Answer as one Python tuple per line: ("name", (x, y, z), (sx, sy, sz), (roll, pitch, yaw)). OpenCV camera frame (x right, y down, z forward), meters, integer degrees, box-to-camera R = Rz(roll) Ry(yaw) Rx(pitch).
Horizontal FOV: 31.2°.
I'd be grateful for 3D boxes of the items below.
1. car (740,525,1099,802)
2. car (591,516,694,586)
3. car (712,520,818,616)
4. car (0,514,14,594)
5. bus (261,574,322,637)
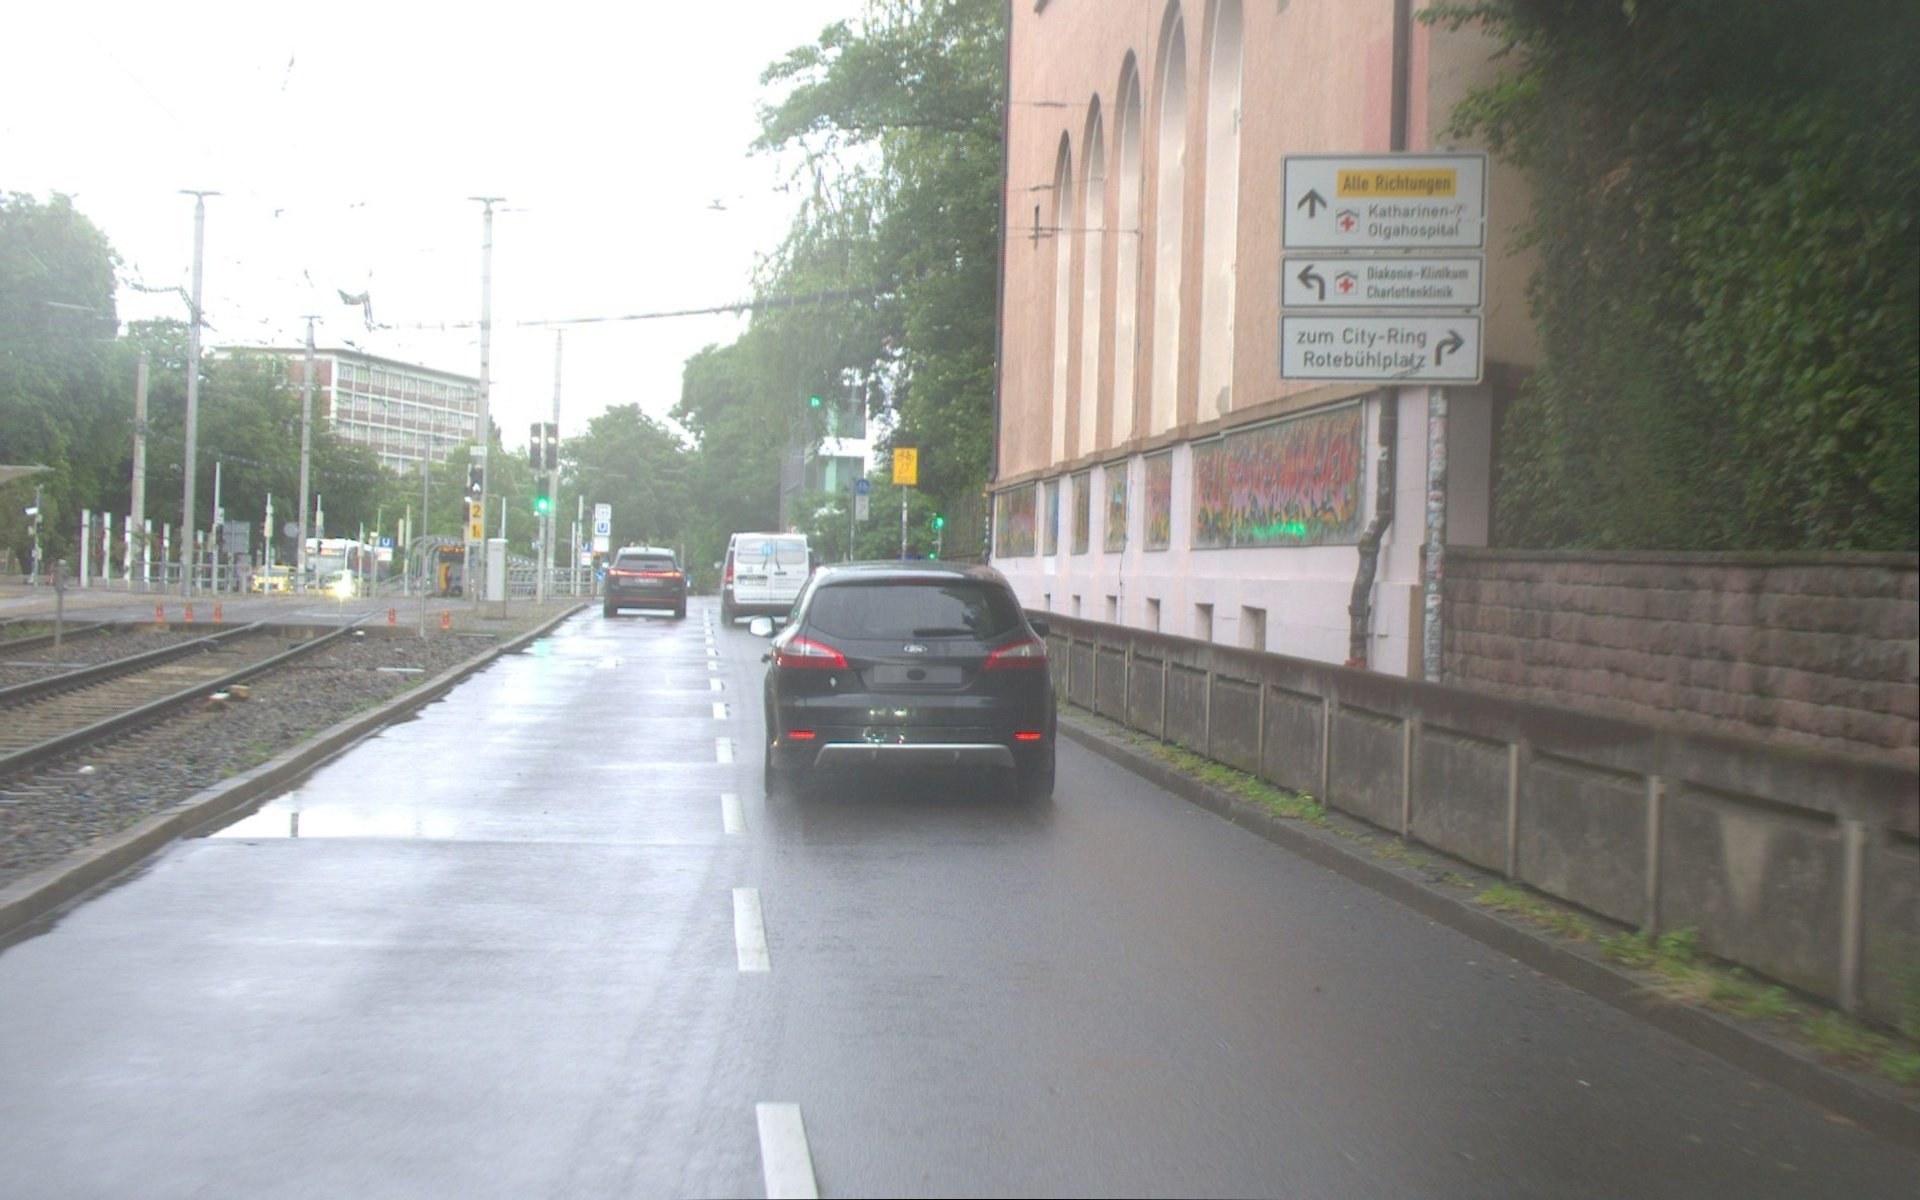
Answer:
("car", (-0.375, 0.348, 22.543), (2.035, 1.579, 4.393), (2, 1, -4))
("car", (-7.123, -1.086, 77.534), (2.098, 1.500, 4.732), (0, 0, -3))
("car", (-3.935, -0.657, 69.986), (2.035, 1.833, 4.392), (2, 1, -2))
("car", (-19.185, -0.844, 64.934), (1.939, 1.531, 4.350), (-1, 1, -8))
("bus", (-36.192, 0.242, 186.311), (3.076, 3.289, 12.526), (0, 0, -11))
